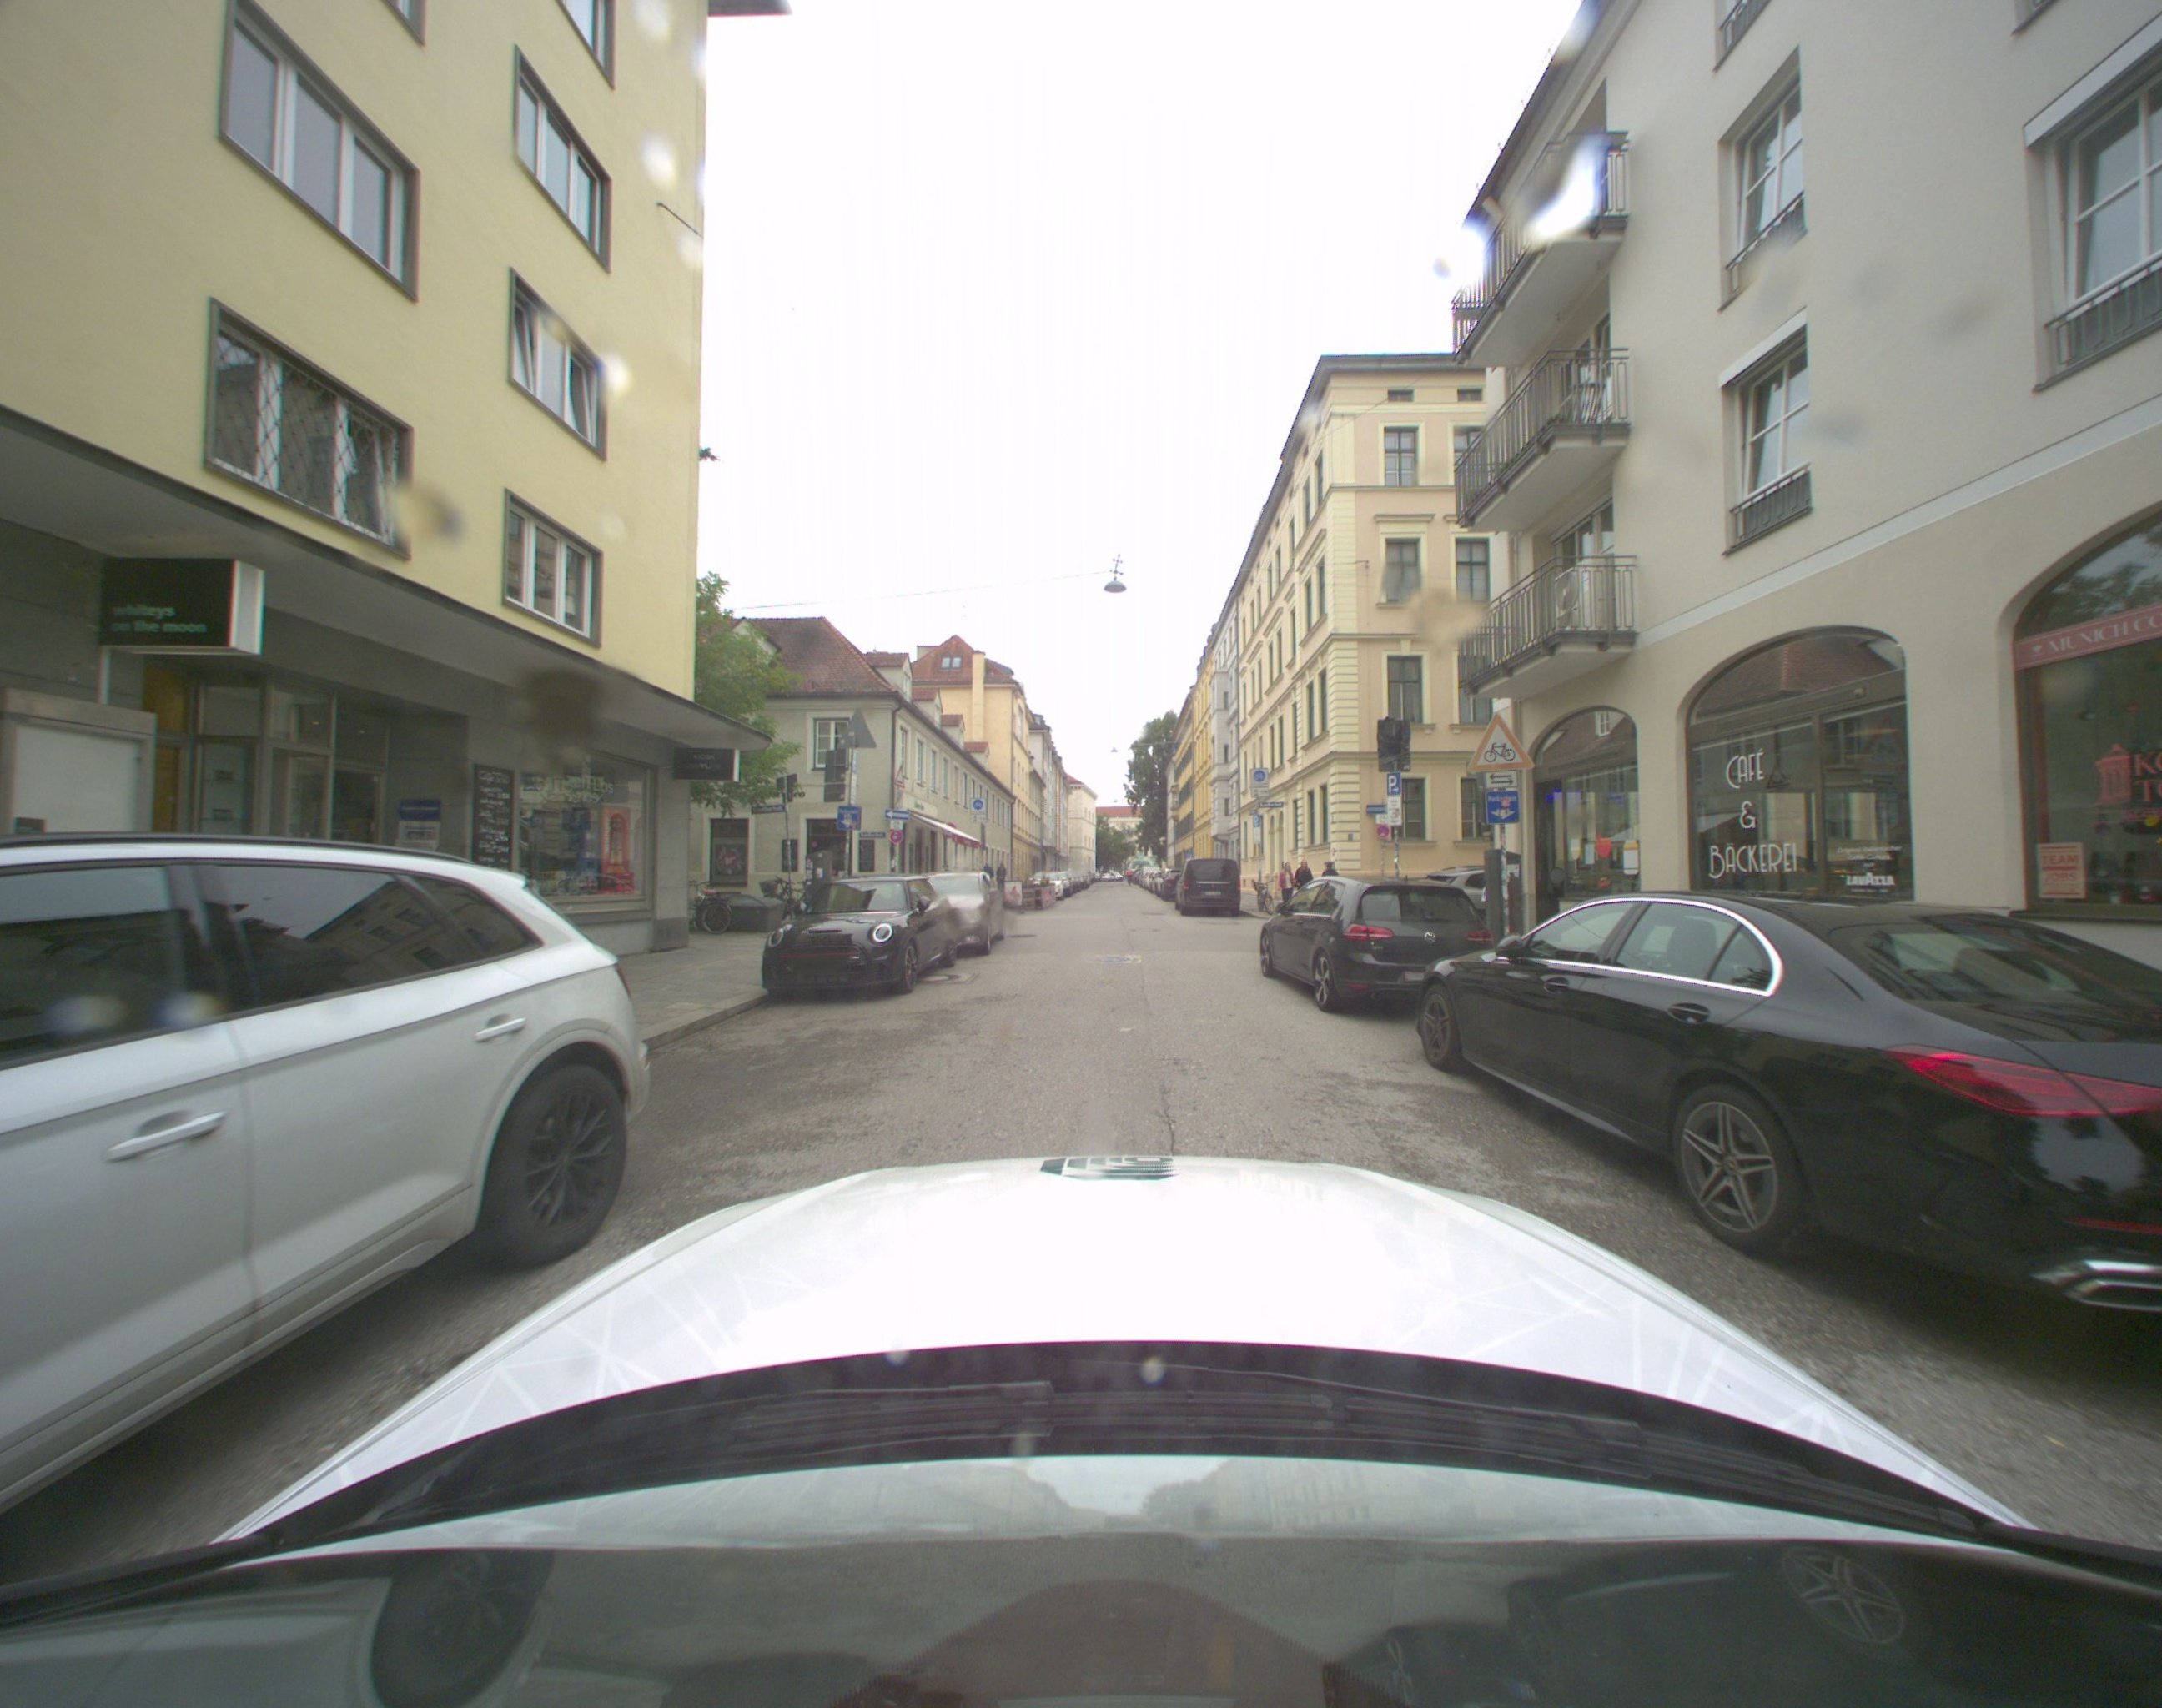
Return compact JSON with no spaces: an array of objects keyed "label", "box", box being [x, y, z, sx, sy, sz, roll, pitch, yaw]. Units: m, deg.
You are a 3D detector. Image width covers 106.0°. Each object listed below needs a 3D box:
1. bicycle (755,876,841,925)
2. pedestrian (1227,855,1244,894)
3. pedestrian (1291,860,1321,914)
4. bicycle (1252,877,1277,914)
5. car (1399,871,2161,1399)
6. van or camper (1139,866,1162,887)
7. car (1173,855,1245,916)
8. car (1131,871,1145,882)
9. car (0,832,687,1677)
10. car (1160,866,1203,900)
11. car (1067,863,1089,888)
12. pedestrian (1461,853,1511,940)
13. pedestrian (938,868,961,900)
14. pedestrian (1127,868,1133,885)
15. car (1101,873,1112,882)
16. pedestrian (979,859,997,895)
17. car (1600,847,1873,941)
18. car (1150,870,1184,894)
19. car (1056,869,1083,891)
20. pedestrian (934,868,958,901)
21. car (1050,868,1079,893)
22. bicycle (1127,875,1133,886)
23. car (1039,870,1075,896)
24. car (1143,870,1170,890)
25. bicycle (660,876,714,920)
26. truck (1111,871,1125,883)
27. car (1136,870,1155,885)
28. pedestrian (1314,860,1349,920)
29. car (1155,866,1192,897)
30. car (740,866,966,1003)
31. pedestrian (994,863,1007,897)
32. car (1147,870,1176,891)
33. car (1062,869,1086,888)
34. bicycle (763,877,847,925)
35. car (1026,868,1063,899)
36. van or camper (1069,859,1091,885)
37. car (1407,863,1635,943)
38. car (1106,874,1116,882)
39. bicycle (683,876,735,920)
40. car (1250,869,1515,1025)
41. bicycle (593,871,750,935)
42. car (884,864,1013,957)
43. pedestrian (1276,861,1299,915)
[{"label":"bicycle","box":[-6.465,1.061,18.603,1.809,1.035,0.392,2,-1,4]},{"label":"pedestrian","box":[8.004,1.074,42.314,0.667,1.981,0.709,-3,-3,2]},{"label":"pedestrian","box":[6.940,1.009,25.119,0.656,1.621,0.980,0,-3,1]},{"label":"bicycle","box":[5.908,1.329,26.284,0.463,1.052,1.731,-2,1,3]},{"label":"car","box":[3.459,0.862,4.552,1.640,1.425,4.510,2,-1,1]},{"label":"van or camper","box":[6.207,2.017,73.175,1.826,1.872,5.081,0,-1,3]},{"label":"car","box":[4.296,1.029,28.039,1.989,1.864,5.257,1,-1,4]},{"label":"car","box":[7.941,3.163,113.812,1.804,1.614,4.158,0,-2,3]},{"label":"car","box":[-2.928,0.771,1.830,1.795,1.584,4.340,-1,0,2]},{"label":"car","box":[4.782,1.376,39.115,1.747,1.521,4.276,0,-2,3]},{"label":"car","box":[-0.280,1.800,67.640,1.750,1.995,4.621,0,-2,-2]},{"label":"pedestrian","box":[7.808,0.822,15.713,0.633,1.647,0.526,0,-3,-6]},{"label":"pedestrian","box":[-5.275,1.216,32.708,0.800,1.290,0.694,0,-3,2]},{"label":"pedestrian","box":[4.966,2.308,82.807,0.639,1.714,0.843,0,-3,3]},{"label":"car","box":[4.633,4.294,148.954,1.698,1.581,3.867,-1,-2,5]},{"label":"pedestrian","box":[-4.891,1.214,42.685,0.819,1.898,0.827,0,-3,1]},{"label":"car","box":[14.290,0.830,17.961,4.425,1.916,1.975,0,1,0]},{"label":"car","box":[5.322,1.724,50.966,1.702,1.405,4.206,0,-2,0]},{"label":"car","box":[-0.812,1.798,57.728,1.811,1.442,4.128,-1,-1,-1]},{"label":"pedestrian","box":[-5.296,1.193,31.984,0.800,1.290,0.694,0,-3,2]},{"label":"car","box":[-1.033,1.689,52.496,1.749,1.496,4.199,0,-2,0]},{"label":"bicycle","box":[4.976,2.694,82.737,0.672,1.095,1.761,0,-3,3]},{"label":"car","box":[-1.333,1.621,46.591,1.792,1.339,4.686,0,-1,1]},{"label":"car","box":[5.858,2.029,63.406,1.702,1.454,4.096,0,-2,0]},{"label":"bicycle","box":[-9.016,1.004,18.702,0.378,0.966,1.715,2,-3,-1]},{"label":"truck","box":[7.608,4.796,169.621,2.117,2.248,6.173,0,-2,-5]},{"label":"car","box":[6.887,2.533,87.632,1.805,1.465,4.248,1,-2,2]},{"label":"pedestrian","box":[7.340,1.048,23.940,0.716,1.717,1.004,0,-3,1]},{"label":"car","box":[5.025,1.508,44.913,1.736,1.584,4.469,0,-2,3]},{"label":"car","box":[-2.797,0.923,10.977,1.672,1.471,4.100,-1,-1,3]},{"label":"pedestrian","box":[-4.188,1.359,42.391,0.526,1.782,0.878,0,-3,2]},{"label":"car","box":[5.591,1.828,56.977,1.701,1.409,4.817,0,-2,3]},{"label":"car","box":[-0.489,1.882,62.599,1.748,1.409,4.103,0,-2,1]},{"label":"bicycle","box":[-6.431,1.080,19.006,1.809,1.035,0.392,2,-1,4]},{"label":"car","box":[-1.819,1.486,41.451,1.749,1.475,3.712,1,-1,-1]},{"label":"van or camper","box":[-0.055,1.646,73.157,1.748,2.281,5.274,0,-2,1]},{"label":"car","box":[9.525,1.022,17.841,4.074,1.605,1.755,0,0,0]},{"label":"car","box":[5.757,4.576,155.296,1.698,1.581,3.867,-1,-2,5]},{"label":"bicycle","box":[-8.523,1.005,18.717,0.378,0.966,1.715,2,-3,-1]},{"label":"car","box":[3.362,0.941,9.996,1.670,1.425,4.203,2,-1,0]},{"label":"bicycle","box":[-8.500,1.008,16.971,2.829,1.212,0.818,1,-3,4]},{"label":"car","box":[-2.352,0.962,15.688,1.674,1.471,4.948,-1,-1,0]},{"label":"pedestrian","box":[6.358,1.059,25.109,0.470,1.625,1.069,0,-3,1]}]
